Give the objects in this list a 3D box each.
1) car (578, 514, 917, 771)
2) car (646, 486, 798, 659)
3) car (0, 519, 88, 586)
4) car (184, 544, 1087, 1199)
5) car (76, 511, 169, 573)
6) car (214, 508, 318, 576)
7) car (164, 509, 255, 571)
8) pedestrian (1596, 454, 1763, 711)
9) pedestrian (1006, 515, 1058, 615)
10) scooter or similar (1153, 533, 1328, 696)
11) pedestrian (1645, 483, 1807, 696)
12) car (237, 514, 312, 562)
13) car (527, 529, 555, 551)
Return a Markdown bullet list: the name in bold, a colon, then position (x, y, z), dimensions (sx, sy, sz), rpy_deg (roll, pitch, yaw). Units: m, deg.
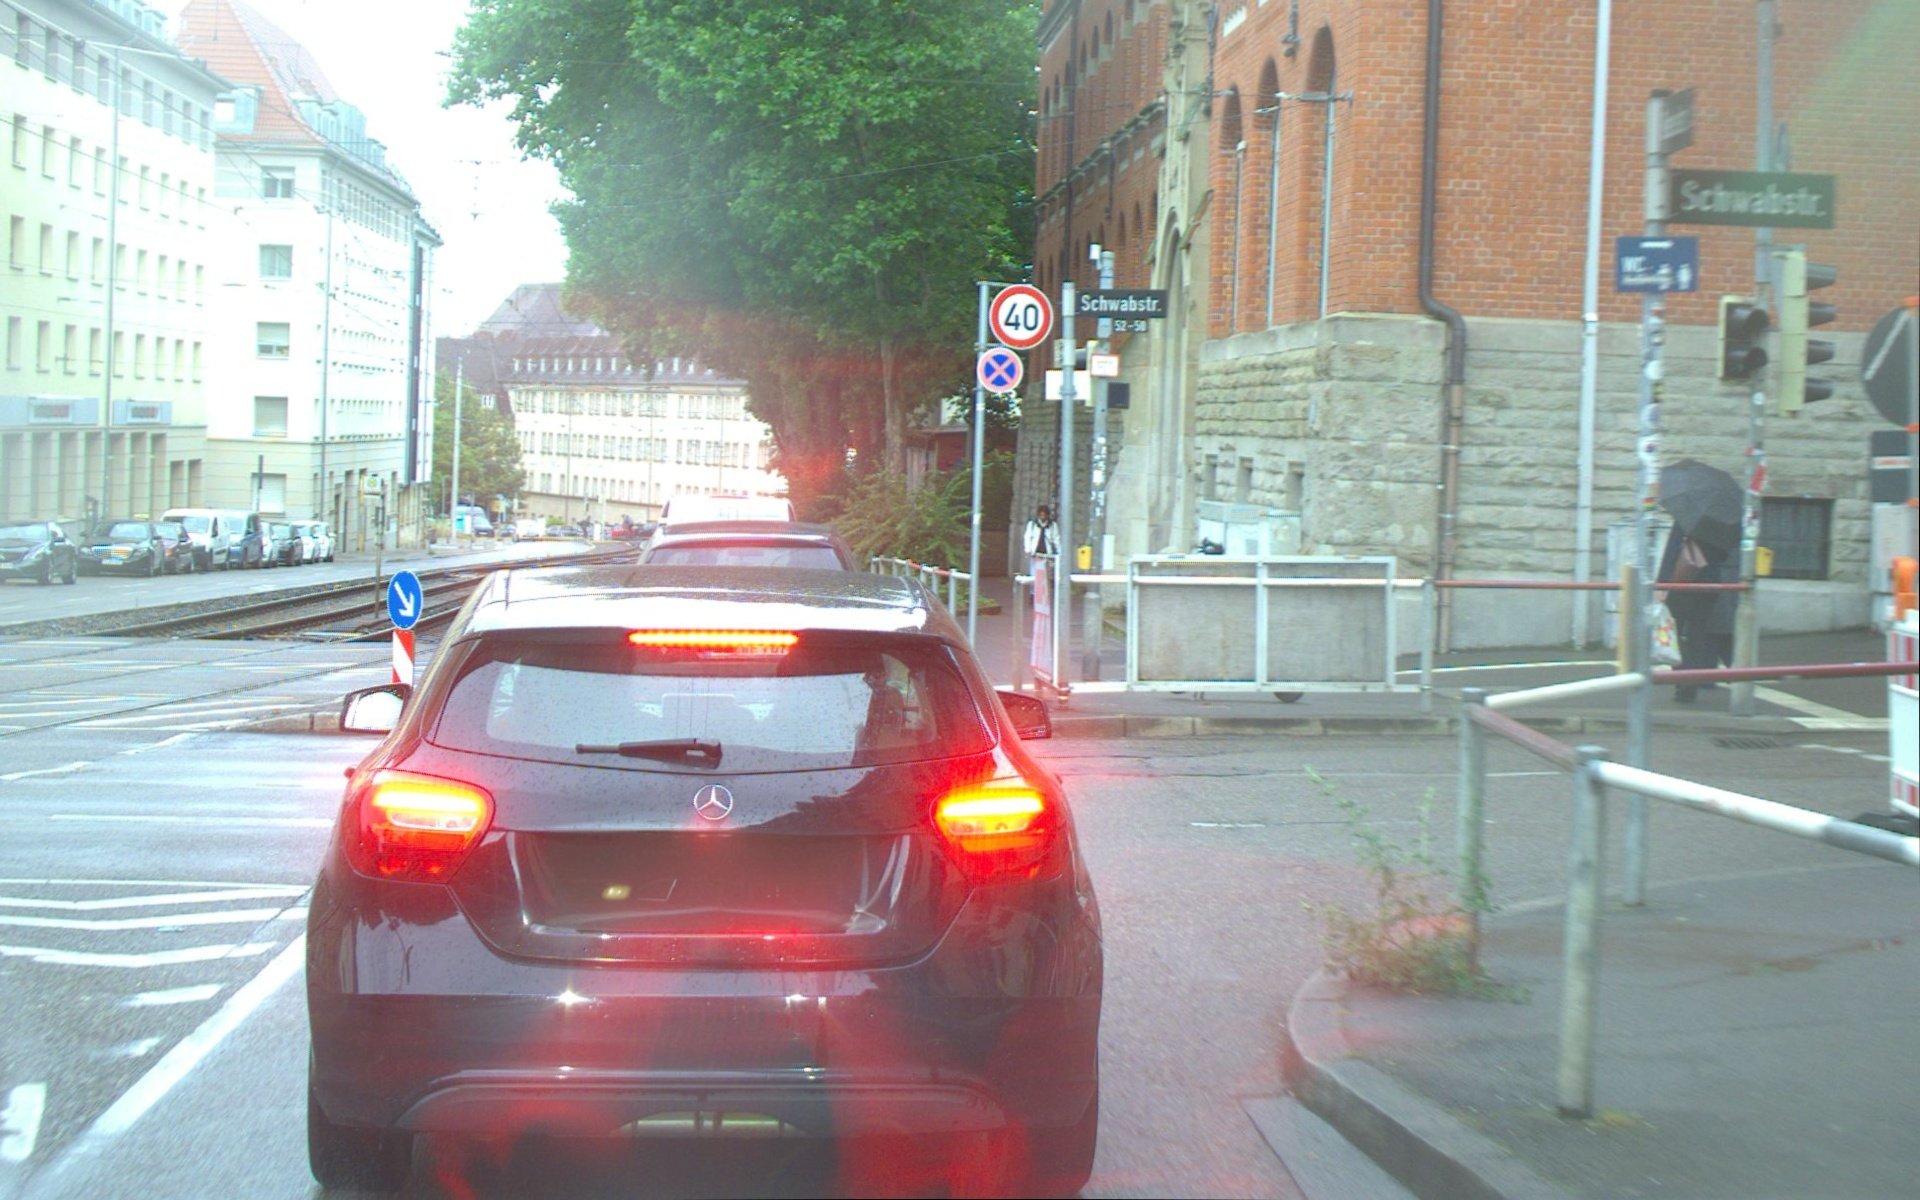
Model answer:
- **car**: position (-1.499, 0.222, 22.574), dimensions (1.933, 1.448, 4.318), rpy_deg (2, 1, -7)
- **car**: position (-3.005, -0.355, 42.804), dimensions (1.740, 2.007, 3.904), rpy_deg (2, 1, -5)
- **car**: position (-20.285, -1.053, 74.952), dimensions (1.679, 1.391, 4.623), rpy_deg (1, 1, -5)
- **car**: position (-0.812, 0.584, 9.076), dimensions (1.794, 1.370, 4.001), rpy_deg (3, 1, -4)
- **car**: position (-21.429, -1.493, 88.134), dimensions (1.851, 1.503, 4.993), rpy_deg (1, 1, -9)
- **car**: position (-21.267, -1.782, 105.588), dimensions (1.993, 1.898, 5.460), rpy_deg (3, 1, 0)
- **car**: position (-21.778, -1.732, 99.908), dimensions (1.867, 1.711, 4.461), rpy_deg (1, 1, -3)
- **pedestrian**: position (5.379, -0.140, 25.755), dimensions (0.958, 1.881, 1.073), rpy_deg (0, 1, -4)
- **pedestrian**: position (1.223, -0.599, 58.476), dimensions (0.823, 1.673, 0.860), rpy_deg (1, 1, -1)
- **scooter or similar**: position (2.209, 0.104, 27.013), dimensions (1.248, 1.246, 0.637), rpy_deg (1, 1, 18)
- **pedestrian**: position (5.949, -0.092, 26.756), dimensions (0.958, 1.620, 1.073), rpy_deg (0, 1, -4)
- **car**: position (-22.985, -2.084, 115.370), dimensions (1.813, 1.494, 4.583), rpy_deg (3, 1, -4)
- **car**: position (-28.543, -4.082, 234.236), dimensions (1.711, 1.457, 4.281), rpy_deg (1, 1, -5)
